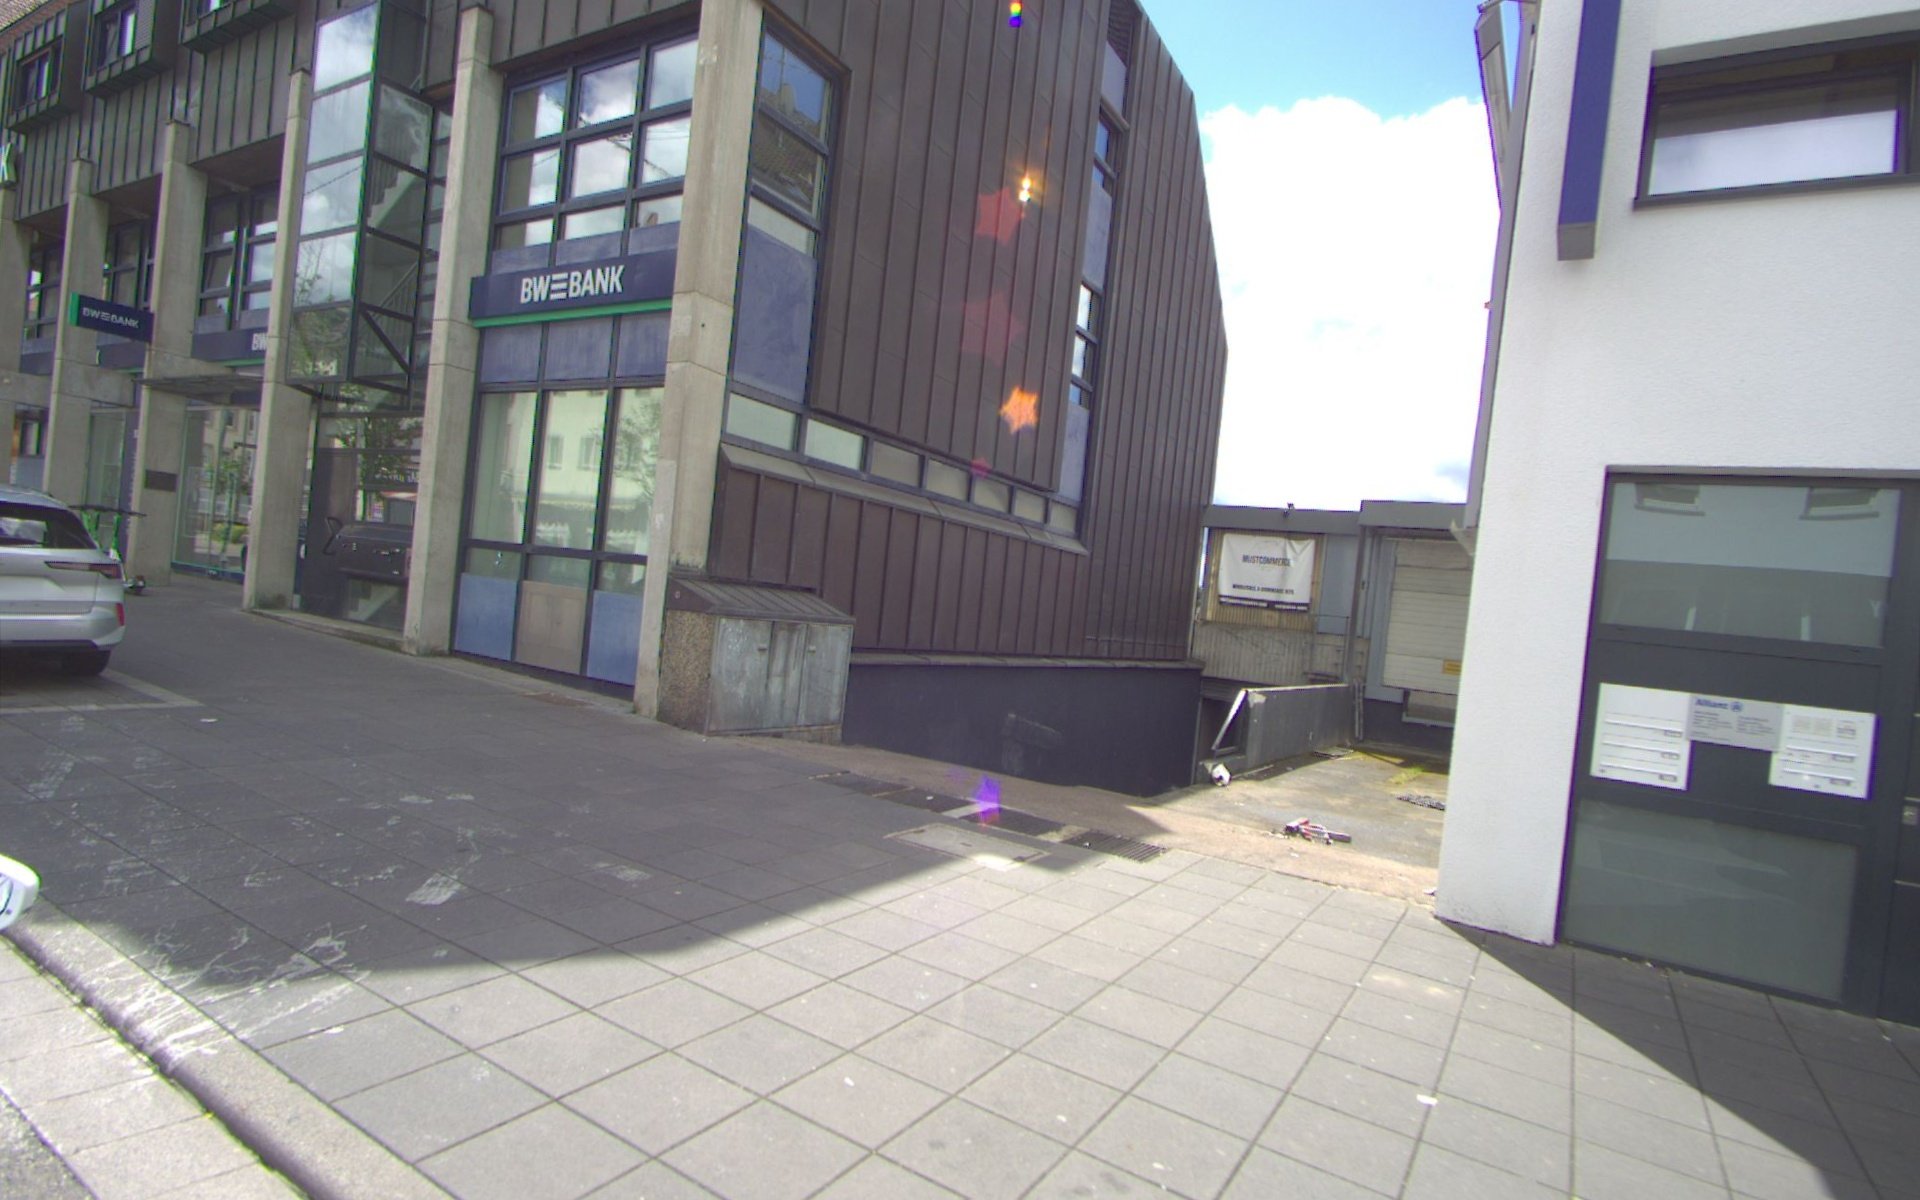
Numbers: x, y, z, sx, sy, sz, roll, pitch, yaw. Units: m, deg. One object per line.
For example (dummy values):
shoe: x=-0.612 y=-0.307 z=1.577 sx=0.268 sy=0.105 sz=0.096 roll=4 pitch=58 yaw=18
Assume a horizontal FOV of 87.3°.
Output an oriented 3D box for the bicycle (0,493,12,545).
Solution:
bicycle: x=-22.204 y=-1.892 z=22.970 sx=1.478 sy=1.132 sz=0.426 roll=6 pitch=-1 yaw=34

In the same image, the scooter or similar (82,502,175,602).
scooter or similar: x=-11.639 y=-0.683 z=14.071 sx=1.536 sy=1.260 sz=0.422 roll=6 pitch=-1 yaw=32

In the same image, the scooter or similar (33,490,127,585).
scooter or similar: x=-13.164 y=-0.939 z=15.050 sx=1.300 sy=1.260 sz=0.406 roll=6 pitch=-1 yaw=22

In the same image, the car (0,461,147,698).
car: x=-8.338 y=-0.361 z=7.956 sx=4.356 sy=1.598 sz=1.720 roll=7 pitch=4 yaw=33

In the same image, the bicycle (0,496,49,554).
bicycle: x=-20.457 y=-1.649 z=21.913 sx=1.713 sy=1.132 sz=0.426 roll=6 pitch=-1 yaw=34

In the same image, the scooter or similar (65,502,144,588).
scooter or similar: x=-13.939 y=-0.909 z=16.385 sx=1.536 sy=1.260 sz=0.422 roll=6 pitch=-1 yaw=32
